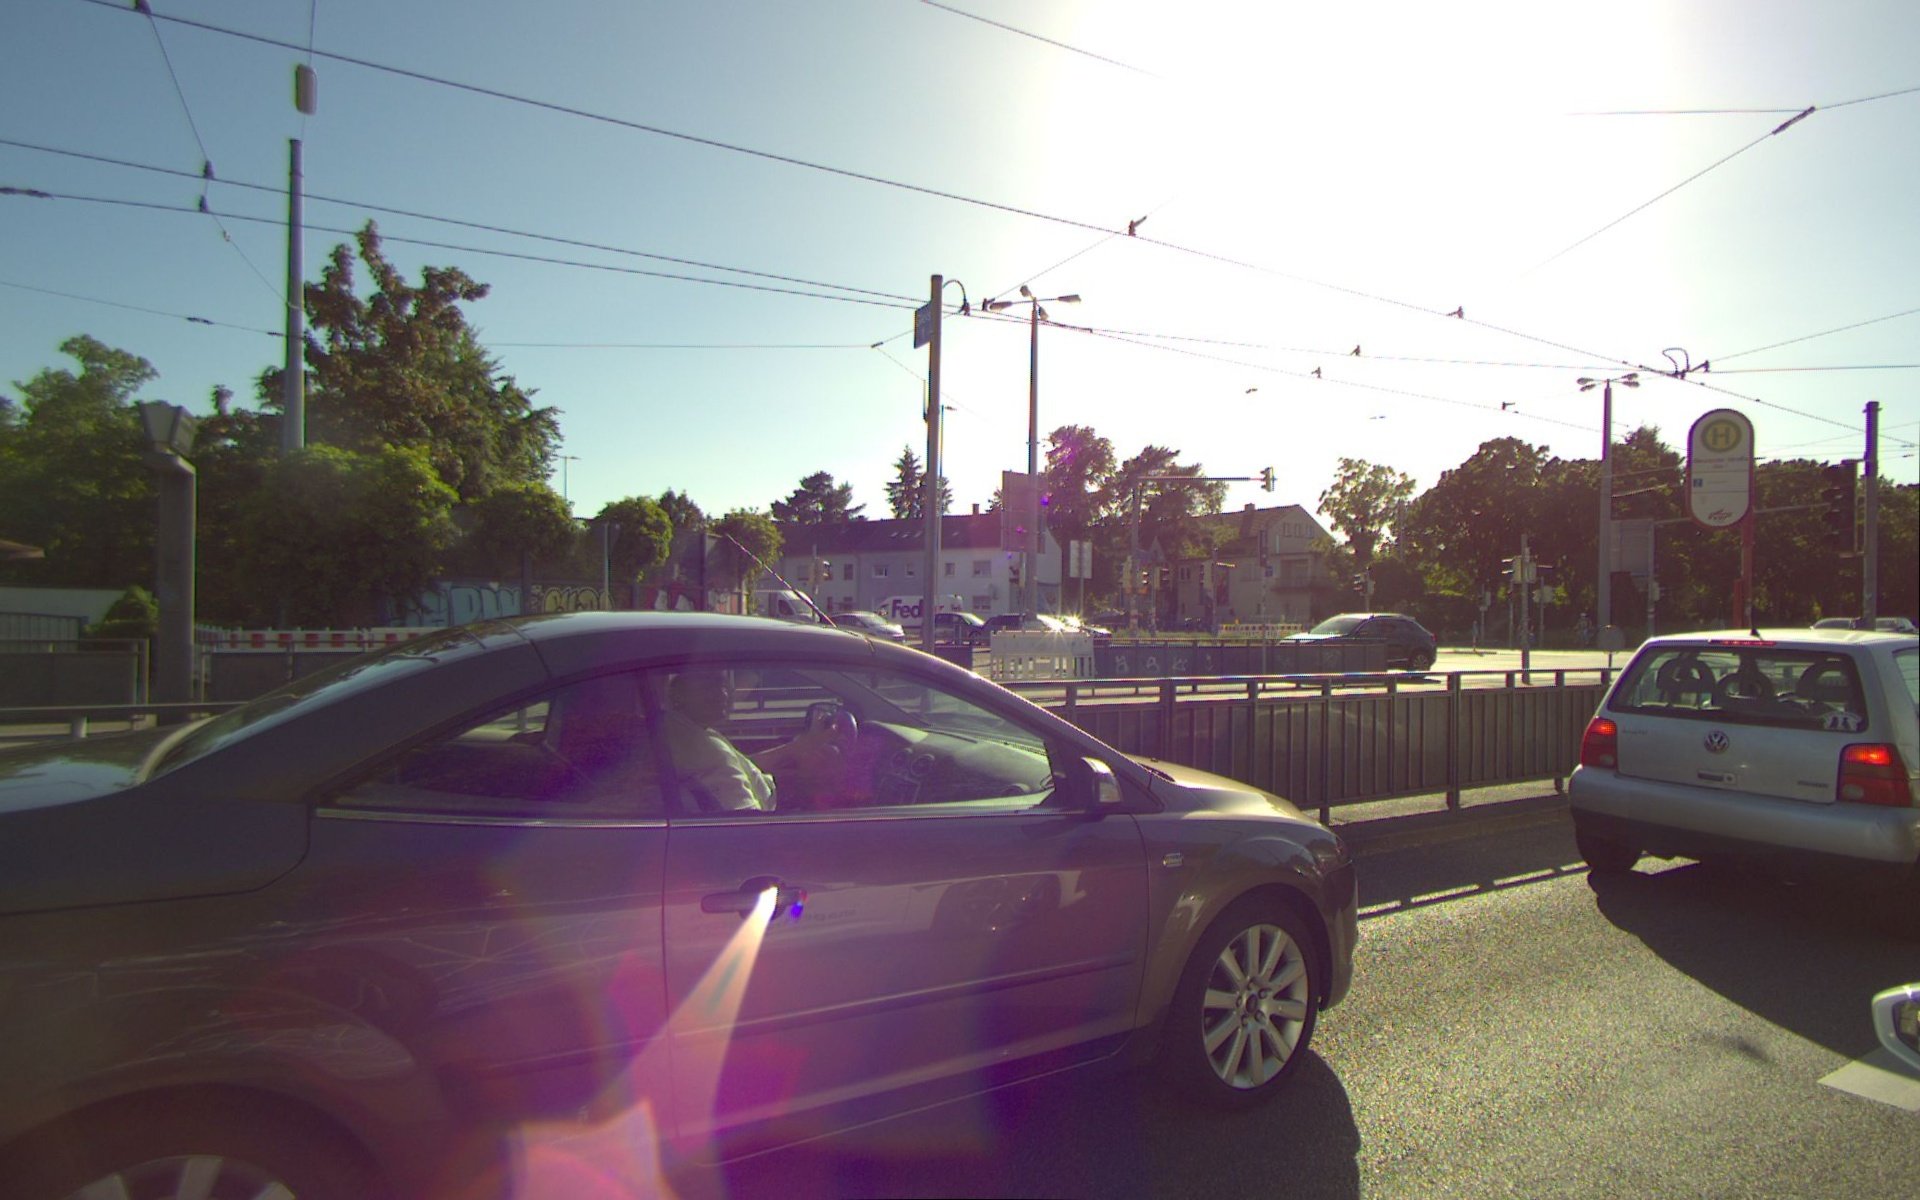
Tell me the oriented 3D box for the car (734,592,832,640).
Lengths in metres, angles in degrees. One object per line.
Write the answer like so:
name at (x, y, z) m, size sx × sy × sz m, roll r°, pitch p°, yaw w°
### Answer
car at (-9.308, 0.820, 52.570) m, size 4.995 × 2.434 × 2.132 m, roll 0°, pitch -1°, yaw 34°

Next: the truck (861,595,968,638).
truck at (-2.881, 0.991, 62.919) m, size 6.701 × 2.599 × 1.996 m, roll 0°, pitch -1°, yaw 30°

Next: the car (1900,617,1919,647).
car at (54.278, 1.790, 56.054) m, size 4.712 × 1.626 × 1.978 m, roll 1°, pitch 1°, yaw -38°

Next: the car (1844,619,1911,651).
car at (47.320, 1.772, 51.787) m, size 4.245 × 1.568 × 1.819 m, roll 1°, pitch -1°, yaw -37°

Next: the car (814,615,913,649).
car at (-4.266, 1.380, 44.177) m, size 4.104 × 1.451 × 1.846 m, roll 0°, pitch -1°, yaw 34°

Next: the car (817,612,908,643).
car at (-4.761, 1.318, 48.895) m, size 4.212 × 1.451 × 1.788 m, roll 0°, pitch -1°, yaw 34°

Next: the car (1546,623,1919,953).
car at (5.205, 0.881, 5.962) m, size 3.312 × 1.436 × 1.611 m, roll 2°, pitch -2°, yaw -31°

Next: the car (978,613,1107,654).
car at (3.178, 1.273, 39.210) m, size 4.754 × 1.517 × 1.781 m, roll 0°, pitch -1°, yaw 34°

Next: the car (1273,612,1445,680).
car at (9.824, 1.101, 24.750) m, size 3.924 × 1.564 × 1.585 m, roll 1°, pitch -1°, yaw -21°

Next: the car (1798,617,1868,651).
car at (42.436, 1.647, 48.799) m, size 3.963 × 1.568 × 1.819 m, roll 1°, pitch -1°, yaw -37°

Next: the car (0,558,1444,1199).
car at (-0.686, 0.704, 2.956) m, size 4.284 × 1.469 × 1.766 m, roll 1°, pitch -1°, yaw -31°

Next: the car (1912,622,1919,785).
car at (10.777, 0.995, 9.448) m, size 4.038 × 1.476 × 1.611 m, roll 2°, pitch 0°, yaw -31°

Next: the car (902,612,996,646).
car at (-0.521, 1.308, 45.811) m, size 4.104 × 1.451 × 1.589 m, roll 0°, pitch -1°, yaw 34°

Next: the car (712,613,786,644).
car at (-10.190, 1.341, 48.512) m, size 3.552 × 1.425 × 1.481 m, roll 0°, pitch -1°, yaw 35°

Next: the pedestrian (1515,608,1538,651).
pedestrian at (26.845, 1.391, 47.616) m, size 0.785 × 2.040 × 0.741 m, roll 1°, pitch -1°, yaw -42°
